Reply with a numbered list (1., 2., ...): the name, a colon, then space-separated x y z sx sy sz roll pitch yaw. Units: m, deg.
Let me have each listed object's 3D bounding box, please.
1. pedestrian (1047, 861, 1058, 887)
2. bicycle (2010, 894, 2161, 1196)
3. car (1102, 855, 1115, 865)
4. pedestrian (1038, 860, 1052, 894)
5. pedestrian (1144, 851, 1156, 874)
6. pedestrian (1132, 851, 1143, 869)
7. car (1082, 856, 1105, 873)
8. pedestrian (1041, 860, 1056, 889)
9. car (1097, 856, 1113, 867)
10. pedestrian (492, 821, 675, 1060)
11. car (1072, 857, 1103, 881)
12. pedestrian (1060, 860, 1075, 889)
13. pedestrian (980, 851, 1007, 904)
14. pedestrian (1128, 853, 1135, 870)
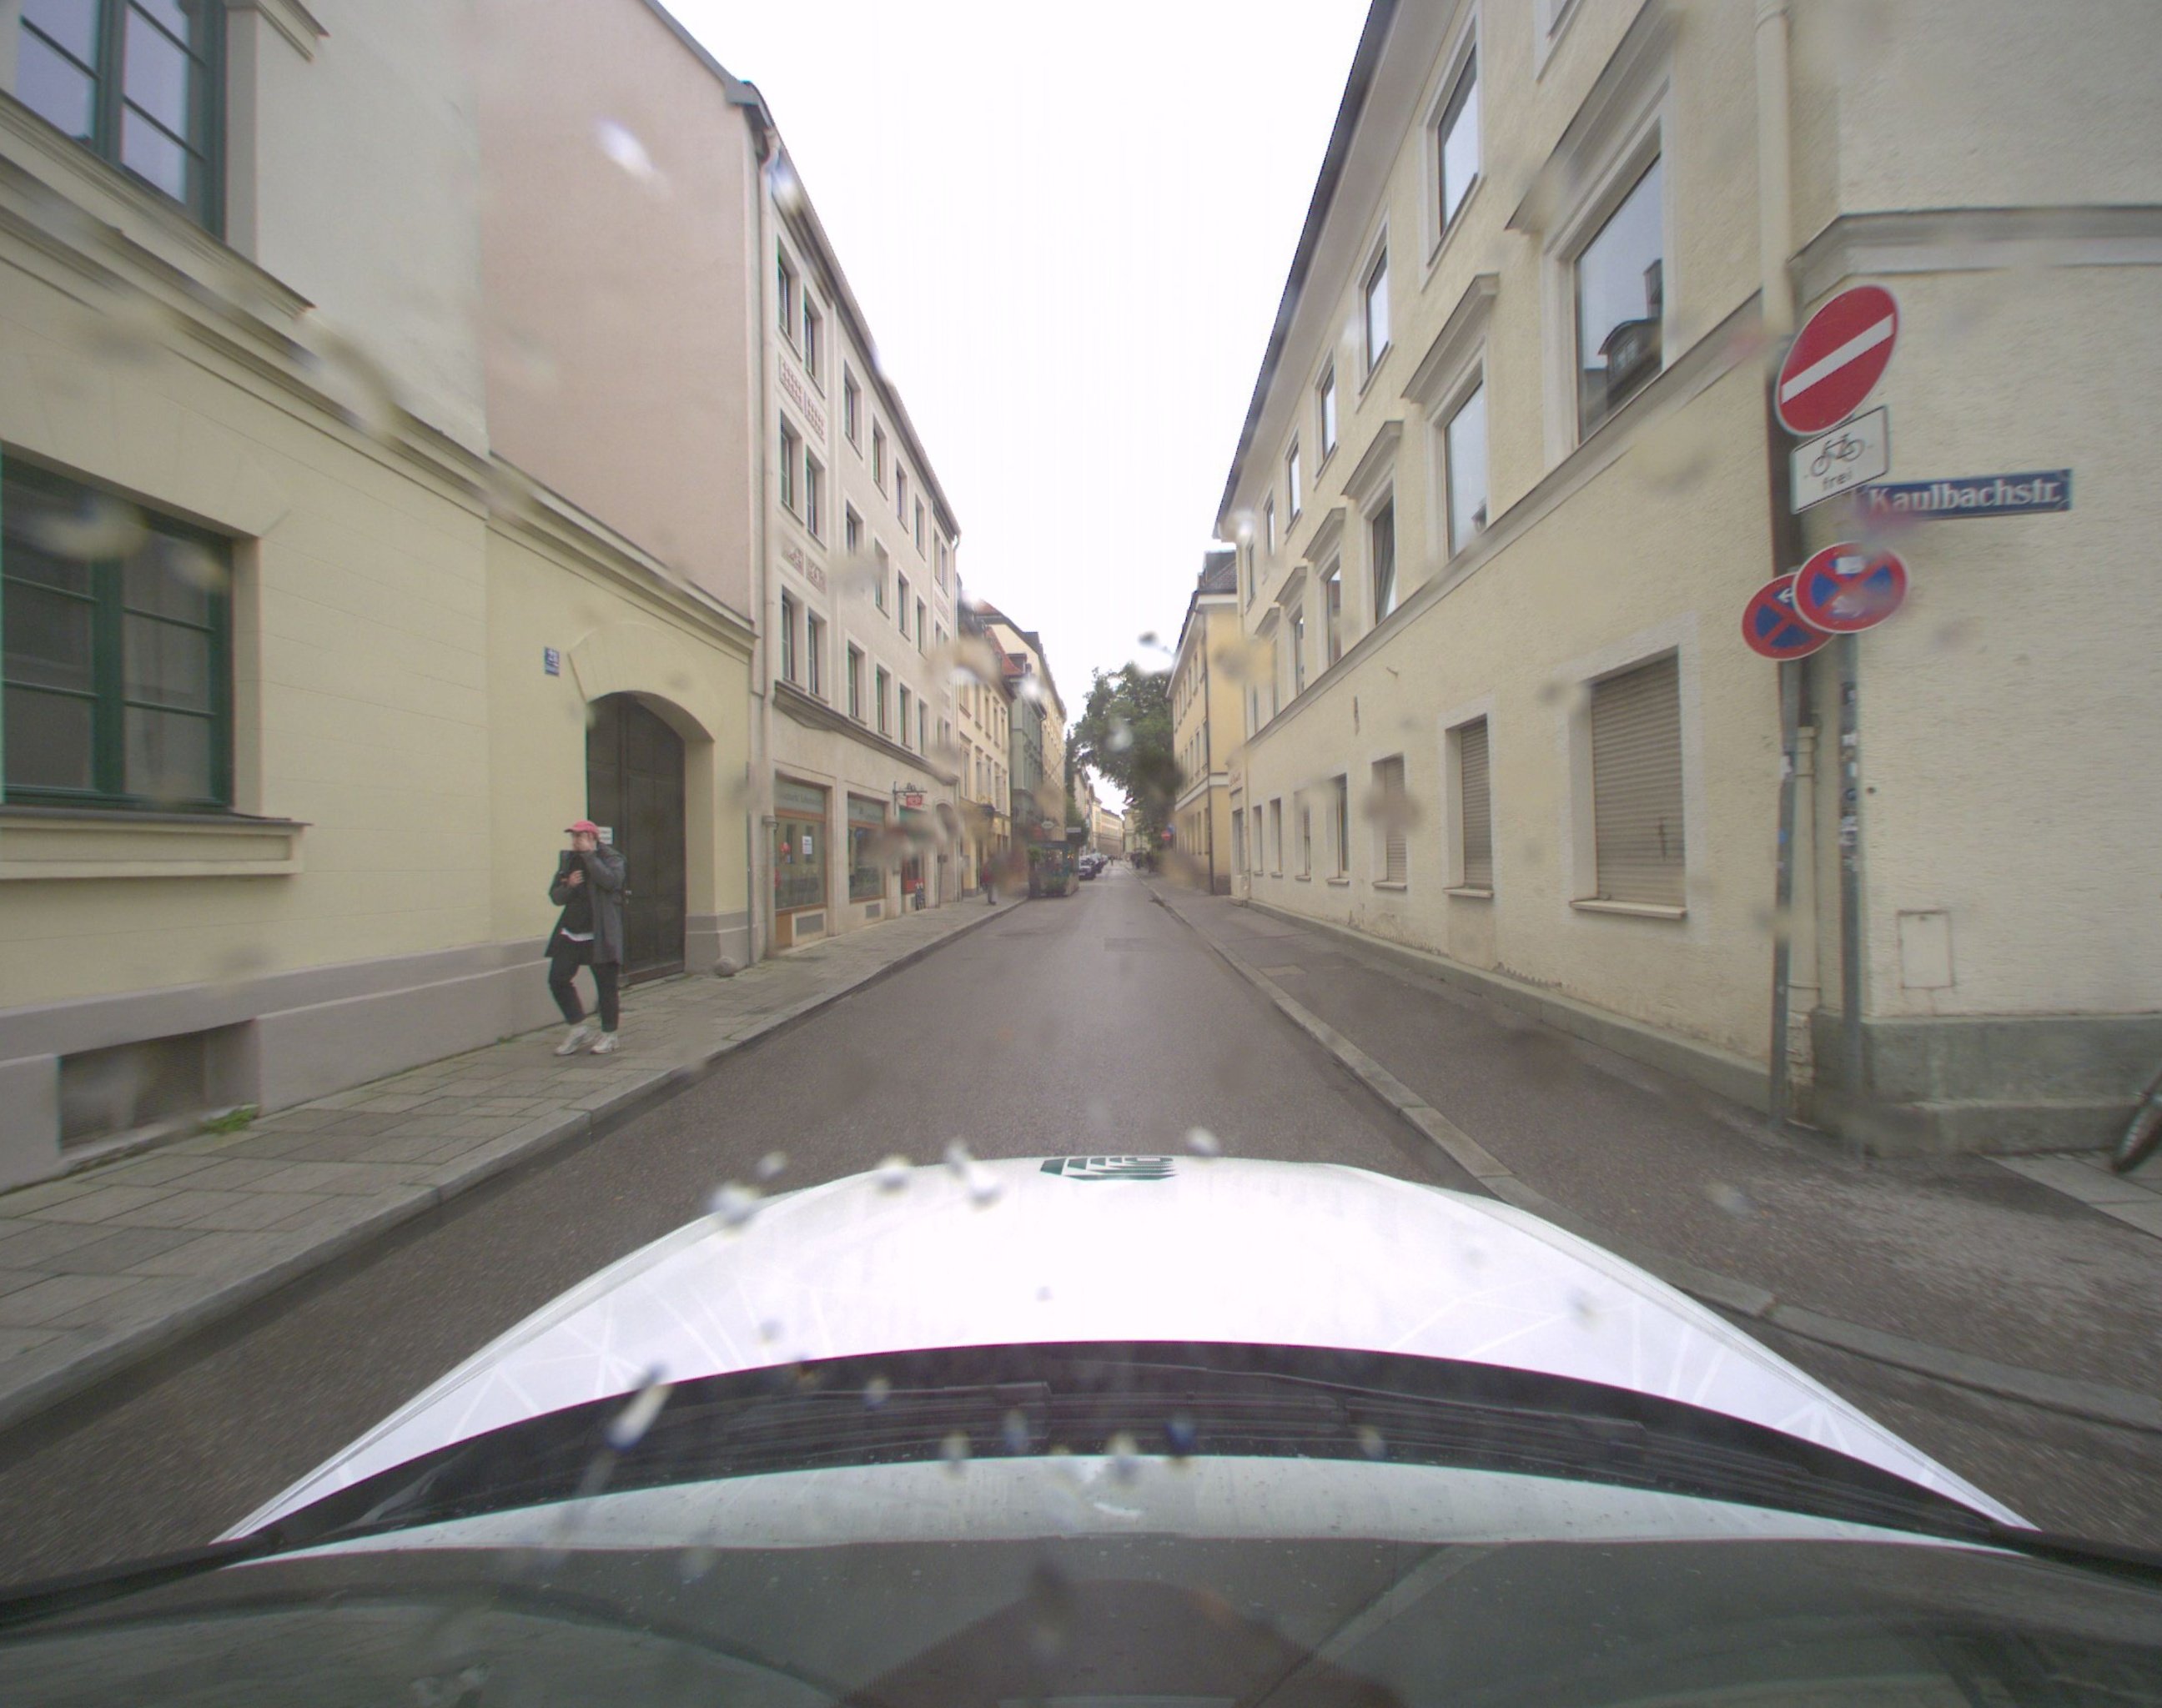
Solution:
1. pedestrian: -1.361 0.950 39.397 0.508 1.237 0.631 0 0 0
2. bicycle: 5.210 0.764 3.487 1.750 1.144 0.586 -2 2 2
3. car: 4.234 0.866 125.162 1.771 1.466 3.547 0 0 5
4. pedestrian: -1.418 0.914 32.078 0.508 1.326 0.631 0 0 0
5. pedestrian: 5.441 0.670 64.507 0.877 1.802 1.047 0 0 3
6. pedestrian: 5.713 0.614 82.357 1.011 1.802 1.350 0 0 3
7. car: 1.172 0.914 73.186 1.771 1.466 3.547 0 0 5
8. pedestrian: -1.509 0.962 38.380 0.671 1.326 0.696 0 0 0
9. car: 3.011 0.935 102.888 1.771 1.466 3.547 0 0 5
10. pedestrian: -3.910 0.624 6.494 0.807 1.755 0.990 0 1 0
11. car: 0.452 0.969 53.664 1.771 1.466 3.668 0 0 5
12. pedestrian: -0.617 0.959 38.187 0.671 1.326 0.696 0 0 0
13. pedestrian: -2.866 0.772 26.809 0.763 1.708 0.785 -2 0 0
14. pedestrian: 5.438 0.768 87.988 0.790 1.802 0.904 0 0 3
